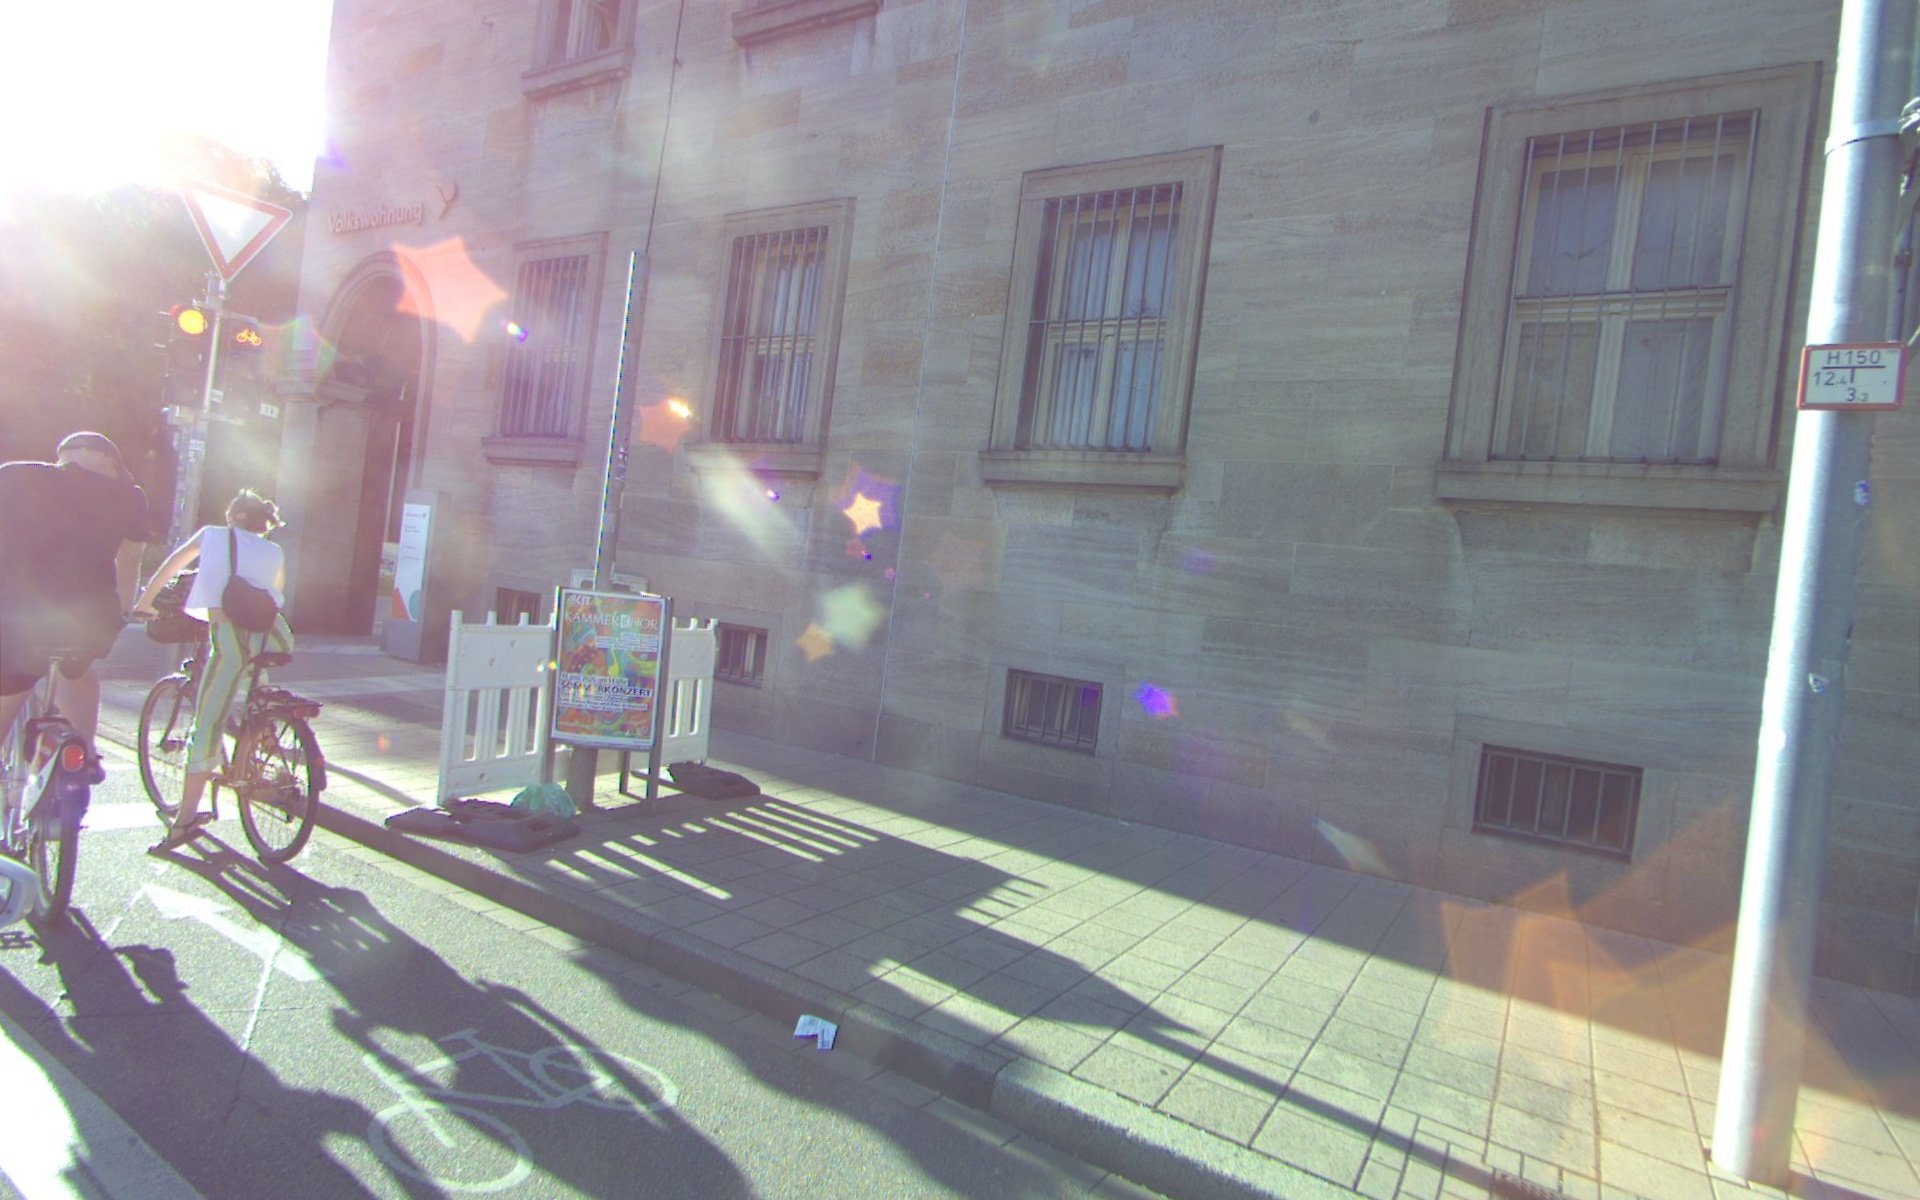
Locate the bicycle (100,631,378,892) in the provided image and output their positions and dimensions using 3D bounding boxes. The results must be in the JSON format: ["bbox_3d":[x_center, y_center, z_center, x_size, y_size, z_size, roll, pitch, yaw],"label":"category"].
[{"bbox_3d":[-3.599,0.715,4.950,1.920,0.887,0.427,7,0,35],"label":"bicycle"}]

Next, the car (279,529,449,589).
[{"bbox_3d":[-19.567,-1.304,33.231,1.748,1.345,4.446,7,-1,34],"label":"car"}]

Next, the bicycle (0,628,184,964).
[{"bbox_3d":[-3.678,0.677,4.080,1.923,0.916,0.388,7,0,41],"label":"bicycle"}]

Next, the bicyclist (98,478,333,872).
[{"bbox_3d":[-3.571,0.319,4.819,0.845,1.700,0.522,7,1,35],"label":"bicyclist"}]

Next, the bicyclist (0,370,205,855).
[{"bbox_3d":[-3.488,0.048,3.871,0.647,1.698,0.669,7,1,40],"label":"bicyclist"}]
